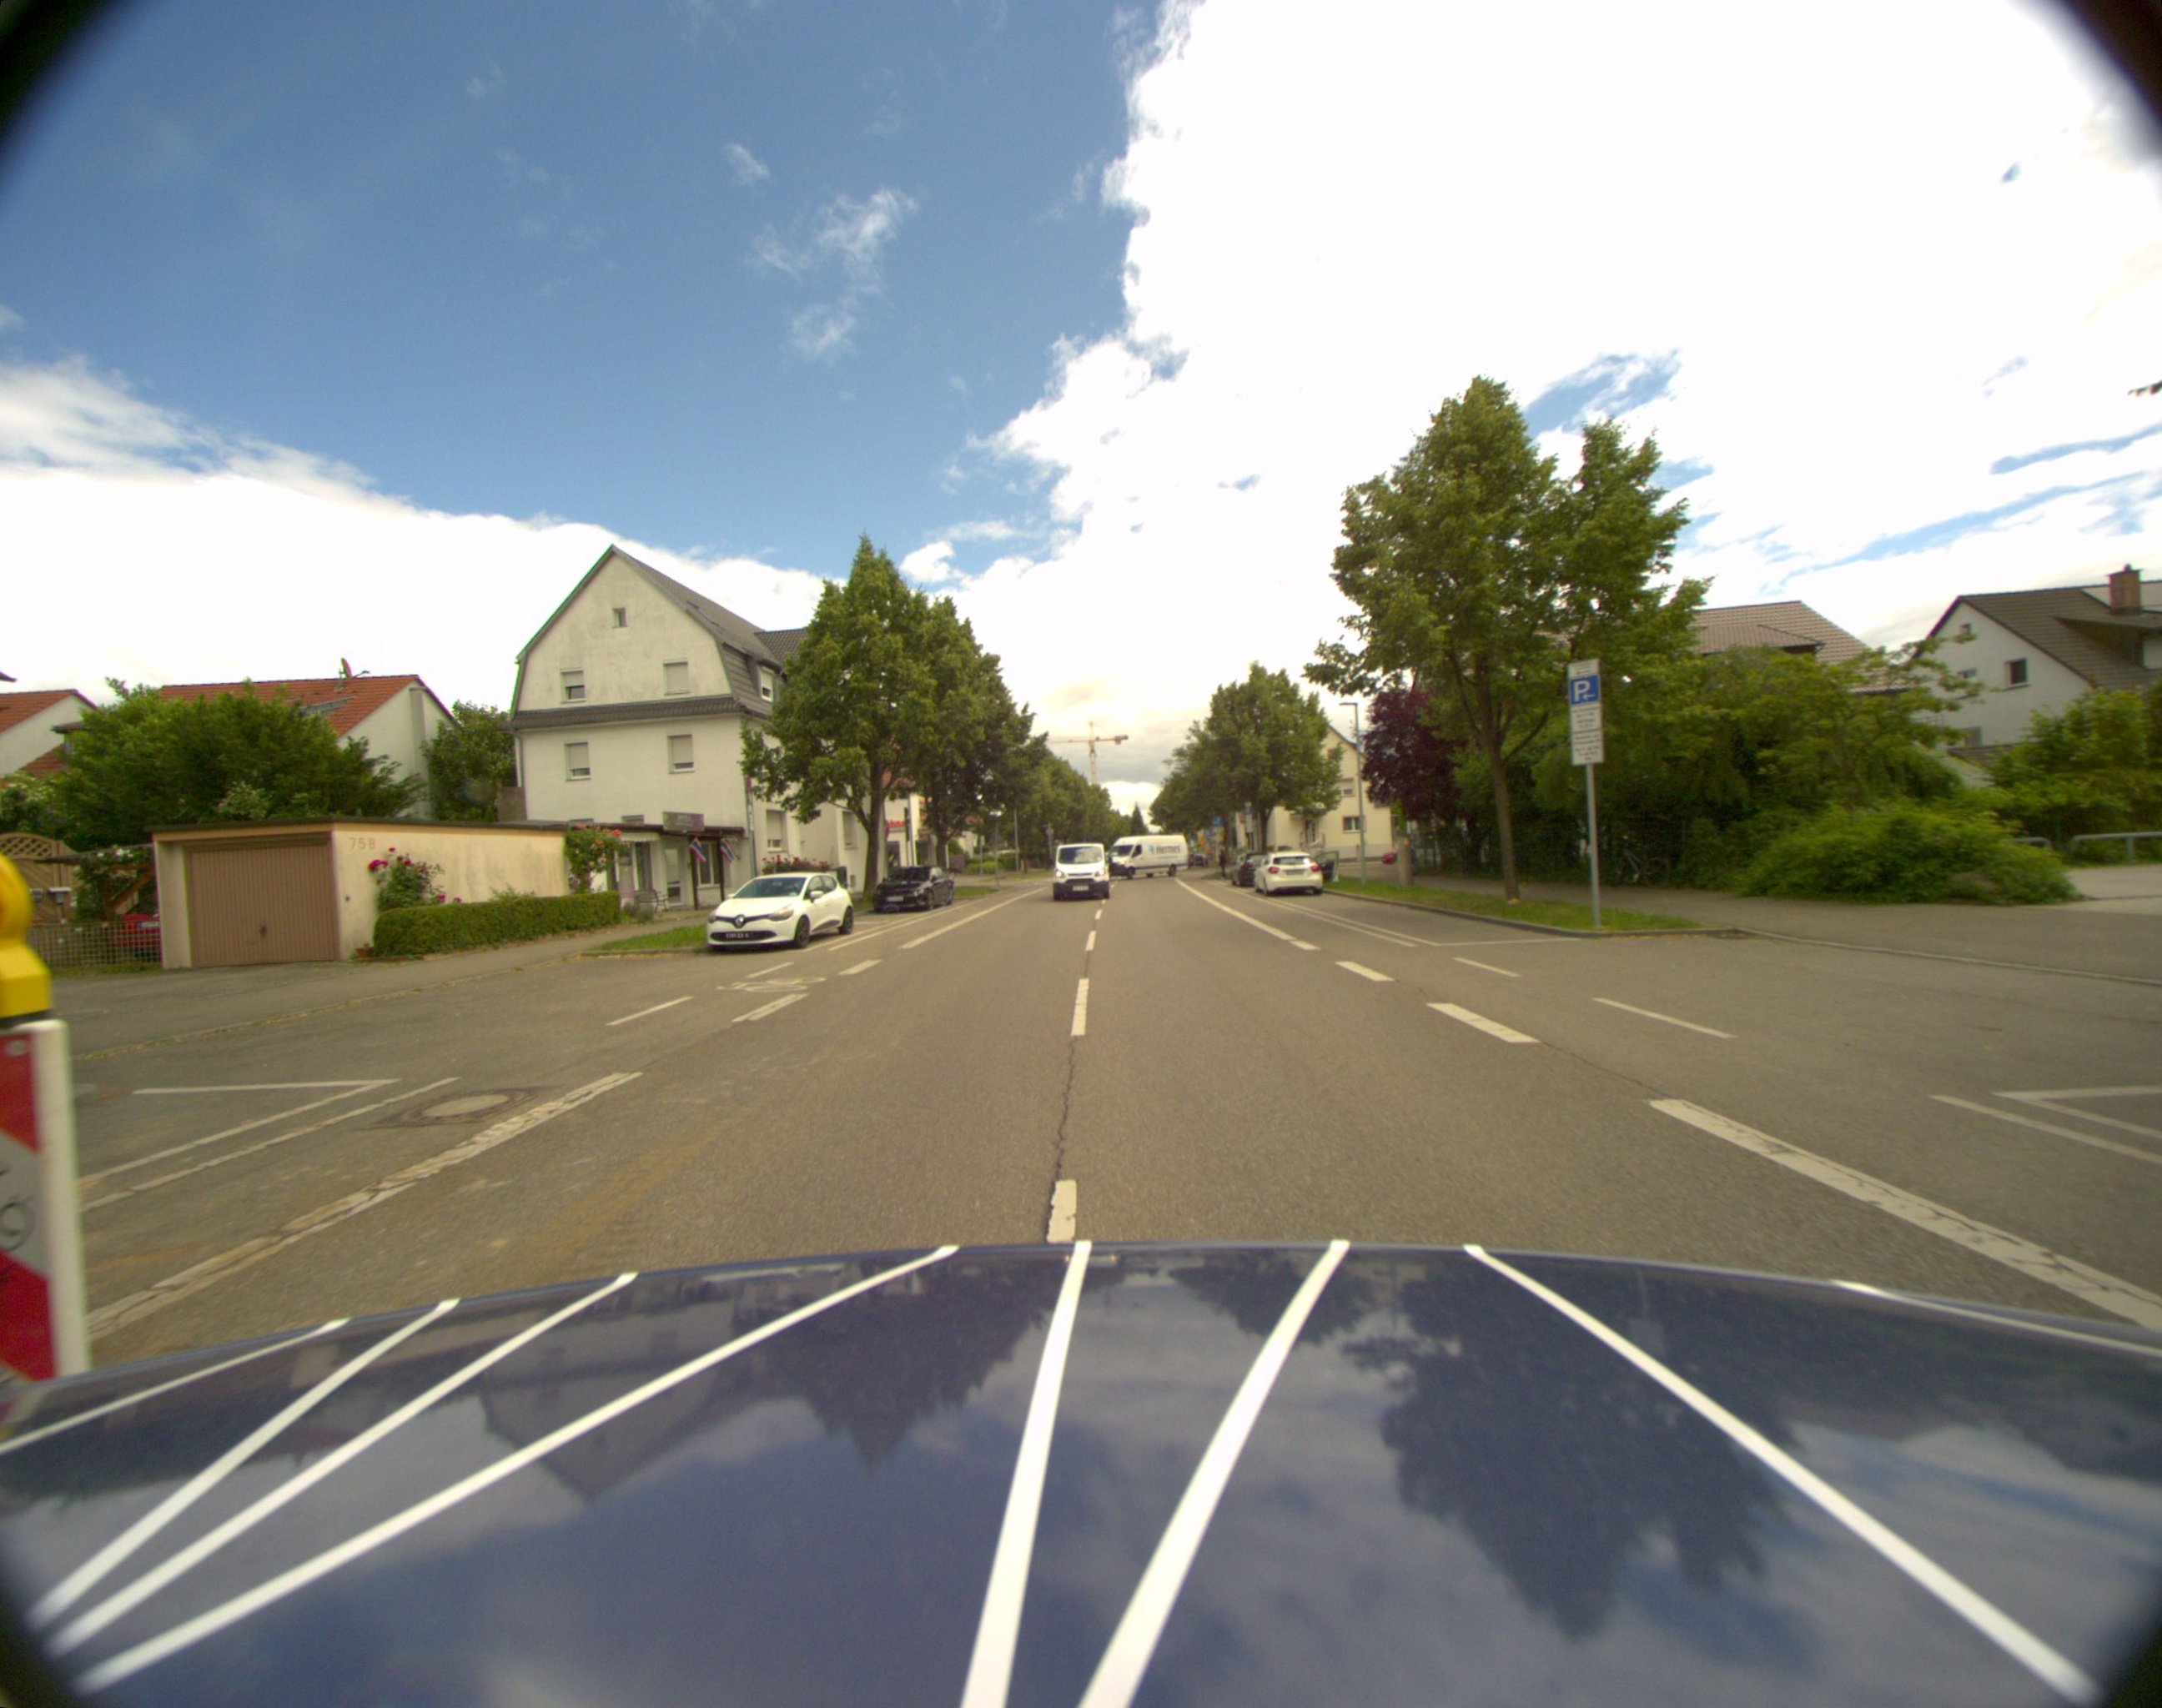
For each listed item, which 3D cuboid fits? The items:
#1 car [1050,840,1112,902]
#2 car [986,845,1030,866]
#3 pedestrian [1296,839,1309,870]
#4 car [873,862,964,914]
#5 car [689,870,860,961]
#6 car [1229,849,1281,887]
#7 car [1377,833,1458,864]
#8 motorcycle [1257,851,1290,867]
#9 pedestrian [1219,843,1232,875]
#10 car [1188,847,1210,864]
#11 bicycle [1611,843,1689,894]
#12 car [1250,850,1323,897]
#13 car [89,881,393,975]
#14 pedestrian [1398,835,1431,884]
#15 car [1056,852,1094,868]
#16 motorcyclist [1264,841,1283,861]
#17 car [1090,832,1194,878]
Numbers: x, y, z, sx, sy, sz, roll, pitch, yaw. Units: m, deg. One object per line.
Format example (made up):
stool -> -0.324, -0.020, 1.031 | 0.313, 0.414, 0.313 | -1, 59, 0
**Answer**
car -> 0.092, 0.556, 28.300 | 1.998, 2.002, 5.050 | -3, 0, 2
car -> -10.060, 0.173, 104.378 | 5.727, 2.576, 1.998 | -3, 0, 1
pedestrian -> 11.407, 0.021, 39.081 | 0.431, 1.543, 0.806 | -3, 1, 5
car -> -5.318, 1.060, 25.485 | 1.709, 1.446, 4.617 | -2, 0, 4
car -> -6.061, 1.140, 15.572 | 1.676, 1.454, 4.000 | -2, 0, 2
car -> 7.330, 0.550, 32.289 | 1.646, 1.412, 4.022 | -2, 0, 6
car -> 21.639, -0.349, 48.983 | 4.358, 1.768, 1.872 | -2, 2, 1
motorcycle -> 13.248, 0.336, 52.412 | 2.117, 1.026, 0.481 | -3, 1, 3
pedestrian -> 7.716, 0.282, 40.544 | 0.543, 1.671, 0.751 | -4, -1, 13
car -> 10.743, 0.155, 69.495 | 1.734, 1.460, 4.303 | -2, 0, 6
bicycle -> 12.515, 0.297, 16.760 | 0.463, 1.042, 1.581 | -3, 0, -2
car -> 6.871, 0.599, 25.763 | 1.717, 1.398, 4.302 | -2, 0, 6
car -> -16.958, 1.407, 15.695 | 1.676, 1.454, 4.000 | -2, 0, 2
pedestrian -> 10.692, 0.181, 24.367 | 0.584, 1.520, 0.697 | -3, 1, -31
car -> -0.701, 0.630, 85.710 | 4.228, 1.628, 1.693 | -2, 0, 0
motorcyclist -> 13.240, -0.224, 52.378 | 1.109, 1.357, 0.753 | -3, 1, 3
car -> 3.956, 0.009, 47.845 | 7.326, 2.579, 2.214 | -3, 1, -45
